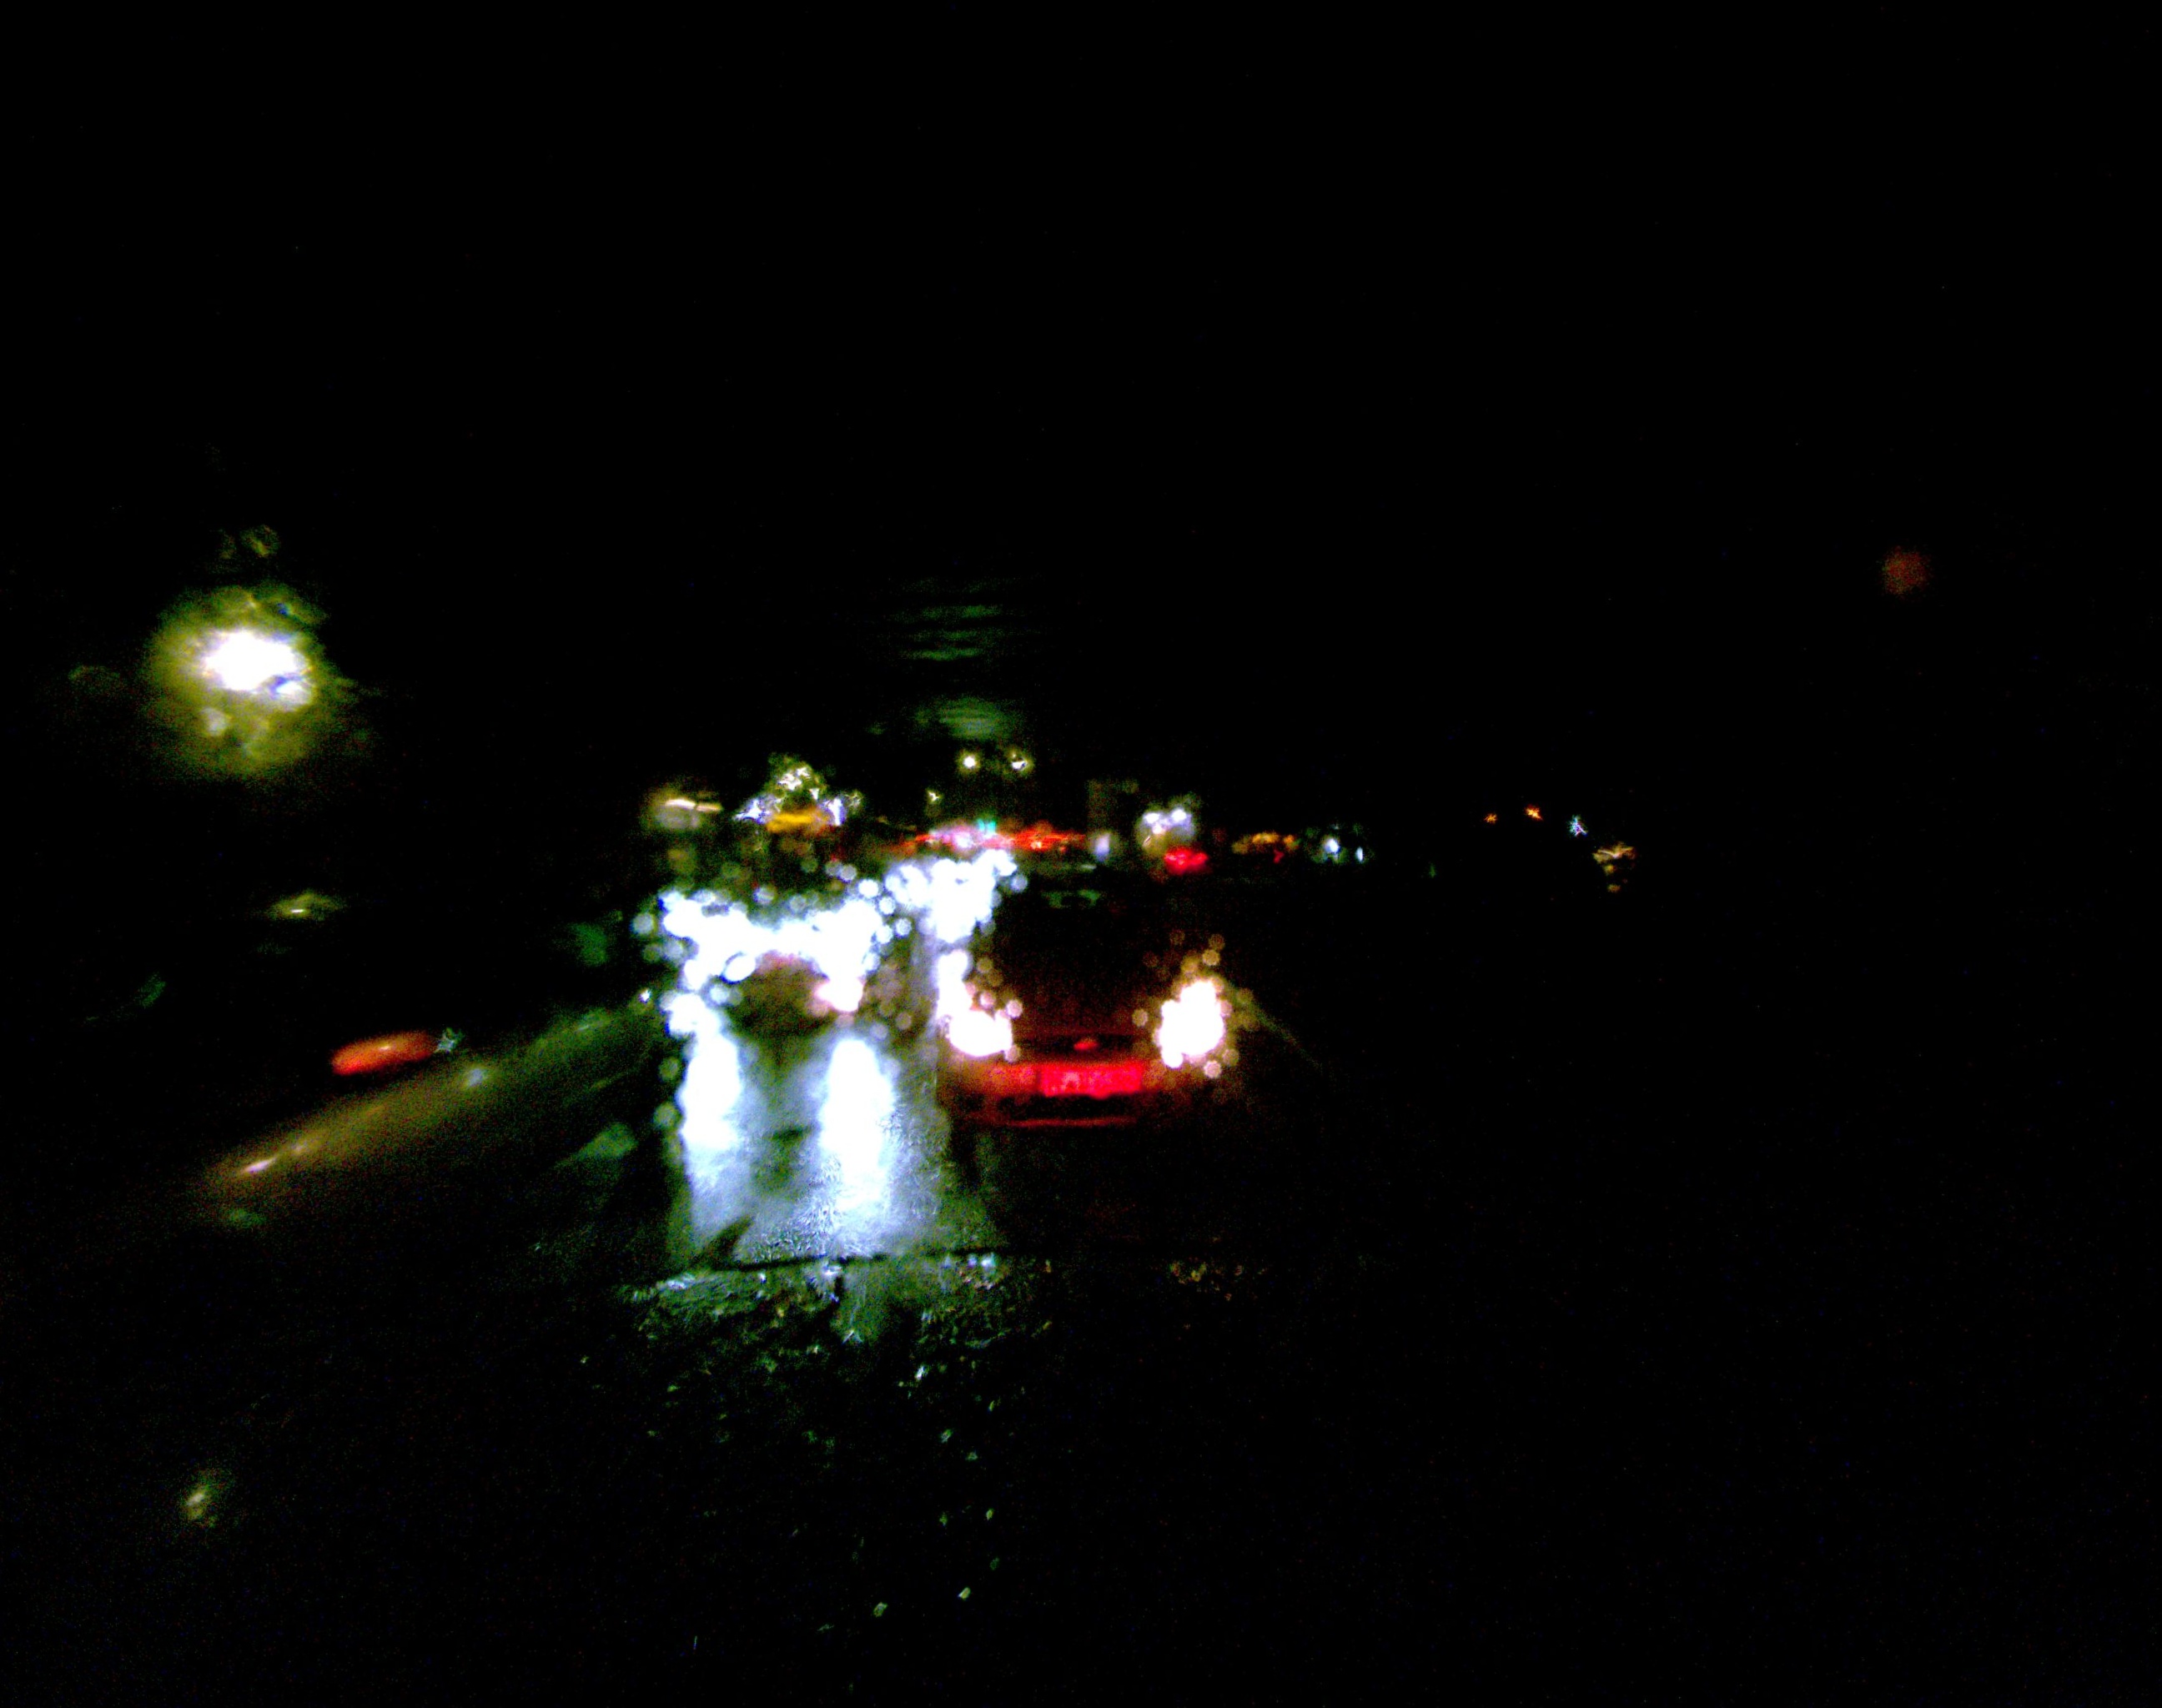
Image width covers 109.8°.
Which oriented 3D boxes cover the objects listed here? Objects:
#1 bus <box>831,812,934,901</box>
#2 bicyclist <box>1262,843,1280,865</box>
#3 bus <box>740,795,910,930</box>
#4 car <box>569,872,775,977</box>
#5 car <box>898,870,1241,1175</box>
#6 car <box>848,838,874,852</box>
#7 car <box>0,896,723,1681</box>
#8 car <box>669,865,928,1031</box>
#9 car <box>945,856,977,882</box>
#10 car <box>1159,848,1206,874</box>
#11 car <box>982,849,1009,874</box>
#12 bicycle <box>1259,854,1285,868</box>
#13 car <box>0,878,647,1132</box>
[{"bbox_3d":[-8.319,0.026,33.108,2.742,3.219,9.693,-2,1,-6],"label":"bus"},{"bbox_3d":[12.562,-0.031,50.135,0.630,1.427,1.186,-1,1,-17],"label":"bicyclist"},{"bbox_3d":[-7.359,0.144,23.481,2.742,3.258,9.693,-2,1,-6],"label":"bus"},{"bbox_3d":[-7.142,1.134,13.796,1.725,1.478,4.160,0,1,-4],"label":"car"},{"bbox_3d":[-0.074,0.908,5.883,1.755,1.438,3.973,0,1,0],"label":"car"},{"bbox_3d":[-23.744,-0.944,81.965,1.712,1.382,3.990,-2,1,-32],"label":"car"},{"bbox_3d":[-3.163,1.028,2.778,1.724,1.438,4.161,-1,1,0],"label":"car"},{"bbox_3d":[-3.325,0.994,9.903,1.724,1.478,4.161,-4,1,0],"label":"car"},{"bbox_3d":[-7.223,0.865,45.521,1.700,1.455,3.969,0,1,-12],"label":"car"},{"bbox_3d":[6.180,0.395,46.607,1.830,1.455,4.422,-2,1,-6],"label":"car"},{"bbox_3d":[-5.996,0.493,52.829,1.725,1.695,3.970,0,1,-8],"label":"car"},{"bbox_3d":[12.577,0.461,50.147,0.629,0.899,2.210,-1,1,-17],"label":"bicycle"},{"bbox_3d":[-6.503,1.089,7.468,1.724,1.478,4.786,-1,1,0],"label":"car"}]
